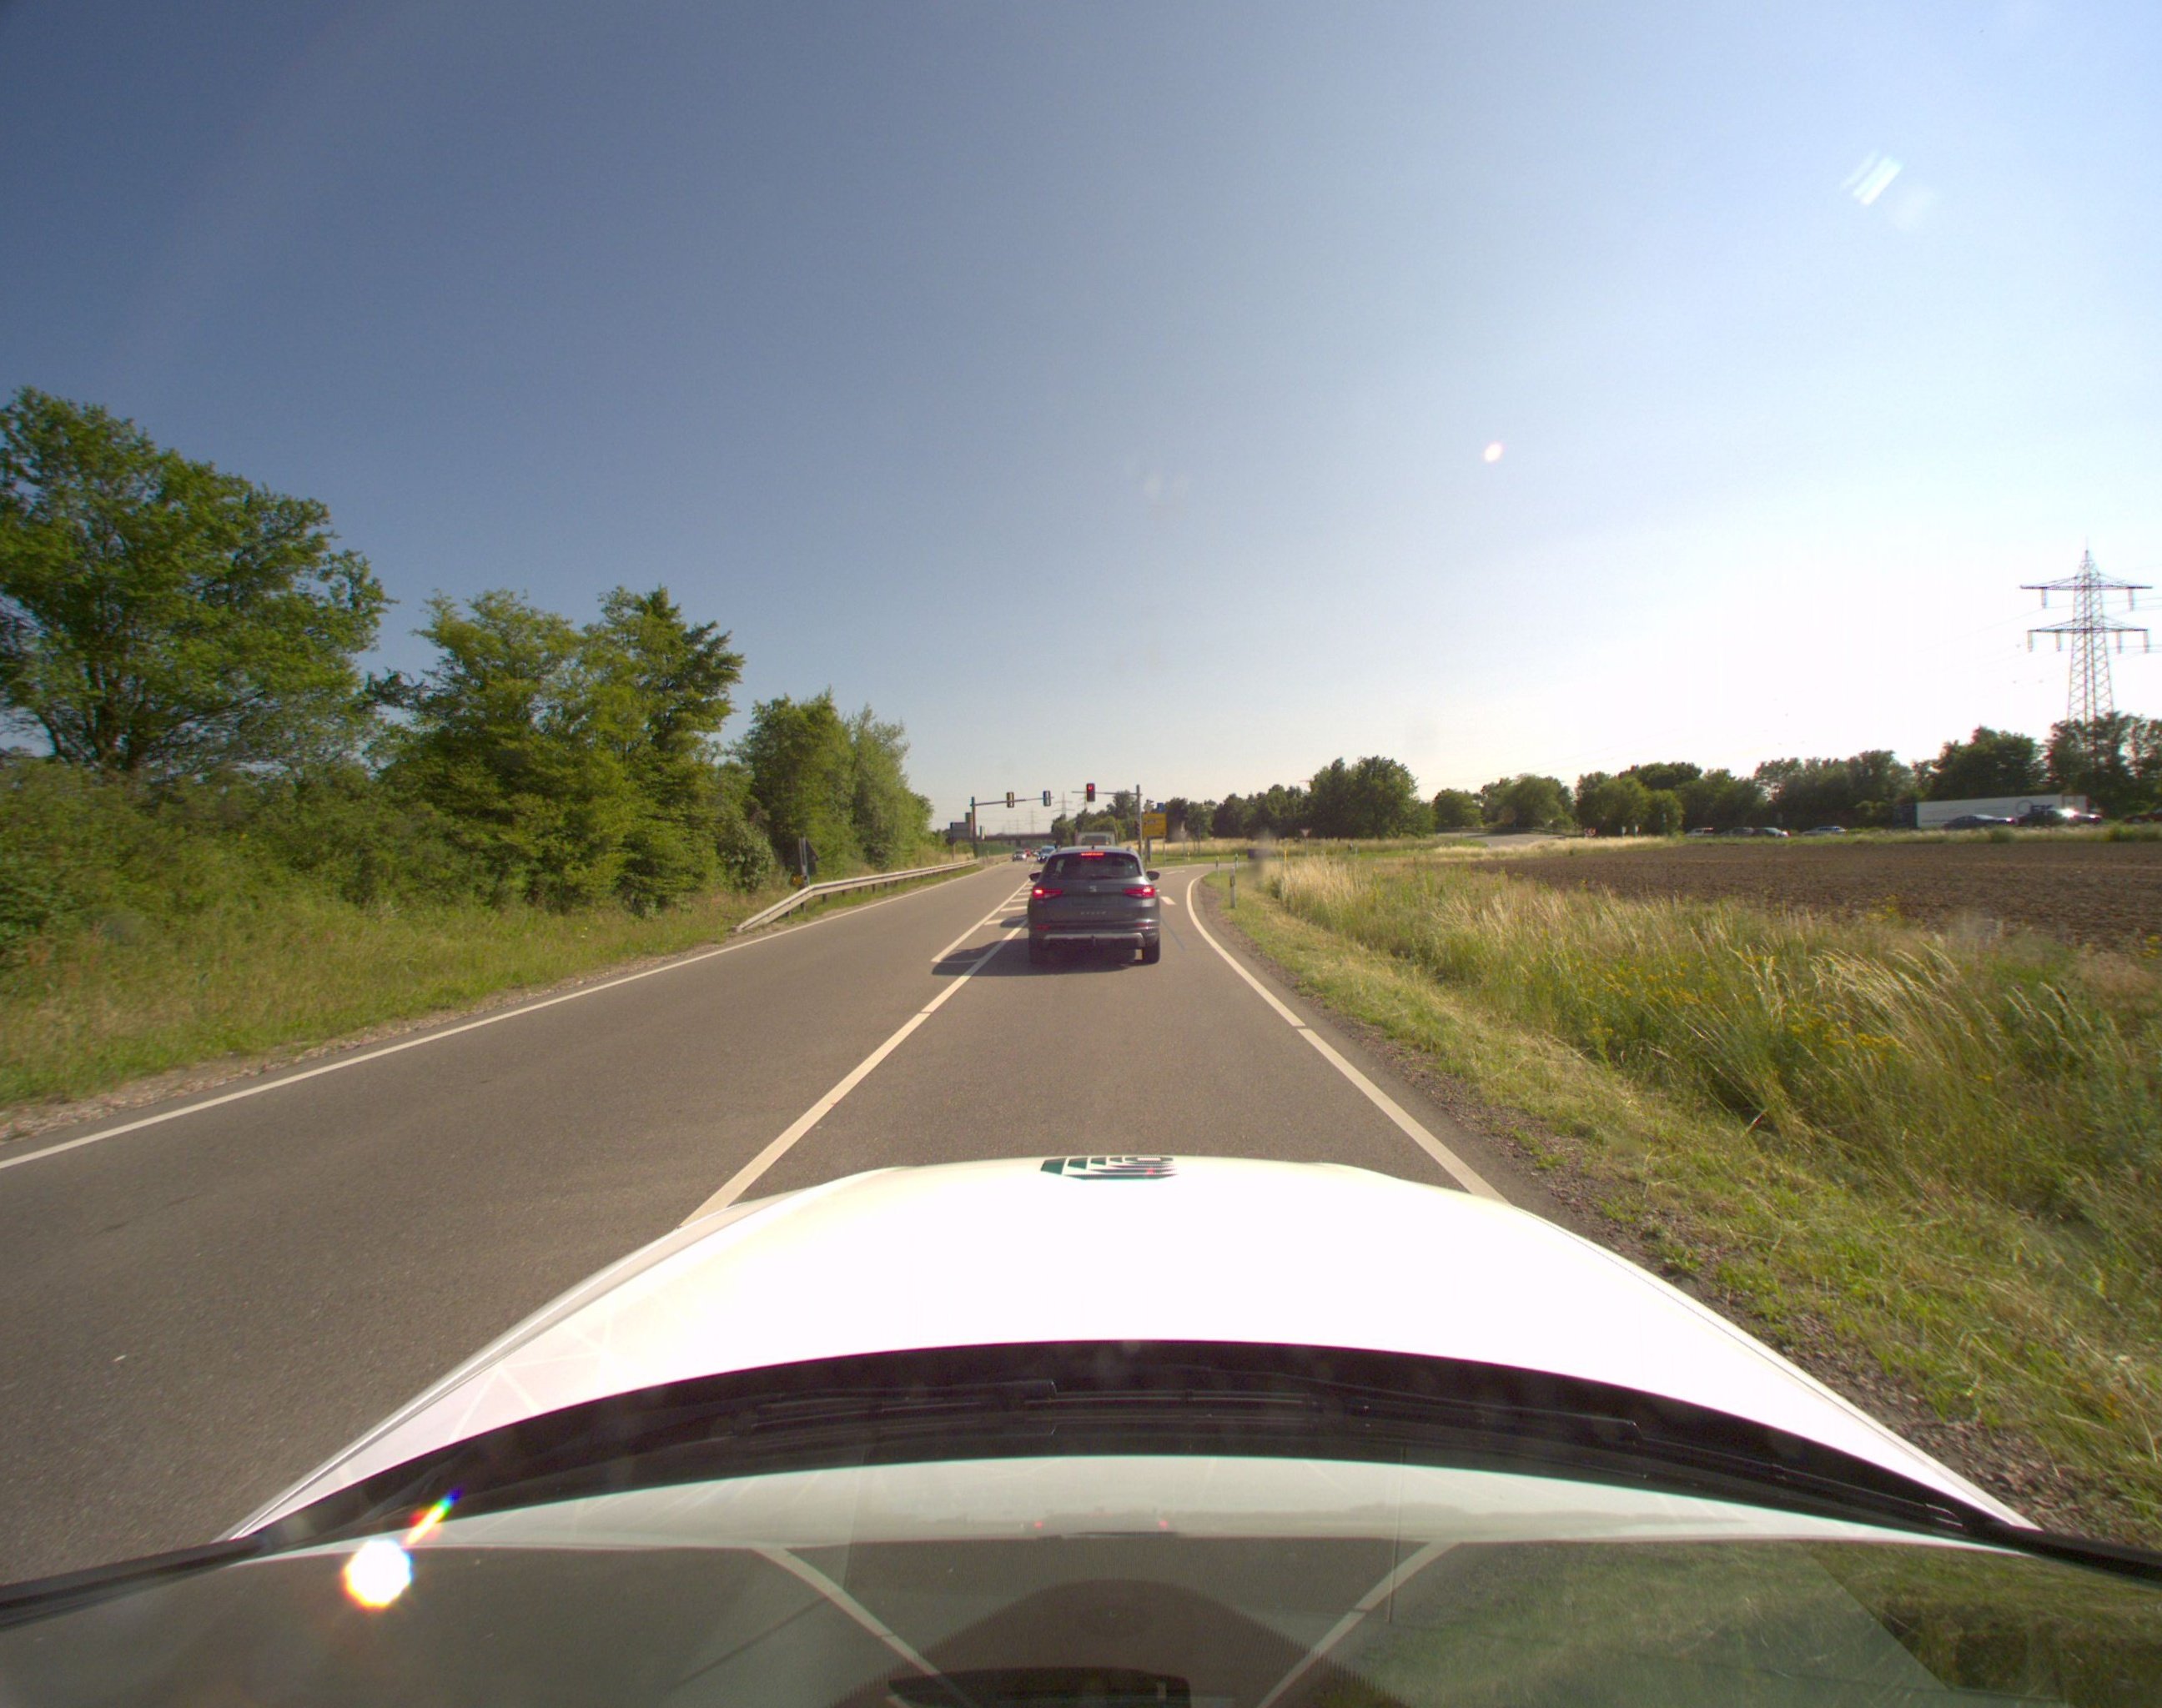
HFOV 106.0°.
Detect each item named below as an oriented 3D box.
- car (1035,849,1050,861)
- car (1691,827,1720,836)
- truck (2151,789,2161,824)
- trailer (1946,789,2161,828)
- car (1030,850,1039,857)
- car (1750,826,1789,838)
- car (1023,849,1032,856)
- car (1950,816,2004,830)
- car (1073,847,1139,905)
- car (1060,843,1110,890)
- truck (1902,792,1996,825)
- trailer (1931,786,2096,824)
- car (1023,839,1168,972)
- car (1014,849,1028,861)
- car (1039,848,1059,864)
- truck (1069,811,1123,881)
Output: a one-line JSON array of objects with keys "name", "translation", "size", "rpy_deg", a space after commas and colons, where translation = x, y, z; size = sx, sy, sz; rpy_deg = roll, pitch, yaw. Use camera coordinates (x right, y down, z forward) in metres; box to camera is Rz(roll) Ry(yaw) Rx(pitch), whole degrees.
[{"name": "car", "translation": [-4.492, 0.078, 95.688], "size": [1.680, 1.380, 3.529], "rpy_deg": [-1, 1, -3]}, {"name": "car", "translation": [96.920, -3.488, 126.385], "size": [1.765, 1.372, 3.624], "rpy_deg": [0, 0, 0]}, {"name": "truck", "translation": [80.541, -3.541, 57.551], "size": [2.506, 2.531, 5.532], "rpy_deg": [-2, 1, -1]}, {"name": "trailer", "translation": [80.340, -3.628, 65.755], "size": [2.506, 2.531, 17.076], "rpy_deg": [-2, 1, -1]}, {"name": "car", "translation": [-9.497, -0.183, 166.425], "size": [1.758, 1.334, 3.994], "rpy_deg": [-2, 1, -4]}, {"name": "car", "translation": [83.890, -2.689, 99.288], "size": [1.765, 1.372, 3.624], "rpy_deg": [0, 0, 0]}, {"name": "car", "translation": [-10.735, -0.301, 162.257], "size": [1.758, 1.431, 3.994], "rpy_deg": [-2, 1, -4]}, {"name": "car", "translation": [93.636, -3.225, 85.142], "size": [1.765, 1.372, 3.624], "rpy_deg": [0, 0, 0]}, {"name": "car", "translation": [0.692, 0.600, 24.547], "size": [1.780, 1.543, 3.999], "rpy_deg": [-2, 1, 0]}, {"name": "car", "translation": [0.144, 0.434, 31.549], "size": [1.780, 1.675, 3.999], "rpy_deg": [-2, 1, 0]}, {"name": "truck", "translation": [99.367, -5.118, 93.433], "size": [3.275, 3.267, 6.975], "rpy_deg": [-2, 0, -1]}, {"name": "trailer", "translation": [99.521, -5.094, 87.476], "size": [3.275, 3.267, 12.450], "rpy_deg": [-2, 0, -1]}, {"name": "car", "translation": [0.176, 0.621, 12.315], "size": [1.780, 1.629, 3.999], "rpy_deg": [-2, 1, 0]}, {"name": "car", "translation": [-7.765, 0.067, 105.491], "size": [1.821, 1.431, 3.994], "rpy_deg": [-2, 1, -4]}, {"name": "car", "translation": [-3.304, 0.155, 83.307], "size": [1.812, 1.540, 3.995], "rpy_deg": [-2, 1, -4]}, {"name": "truck", "translation": [0.706, -0.370, 39.176], "size": [2.329, 3.066, 5.810], "rpy_deg": [-1, 0, 1]}]
